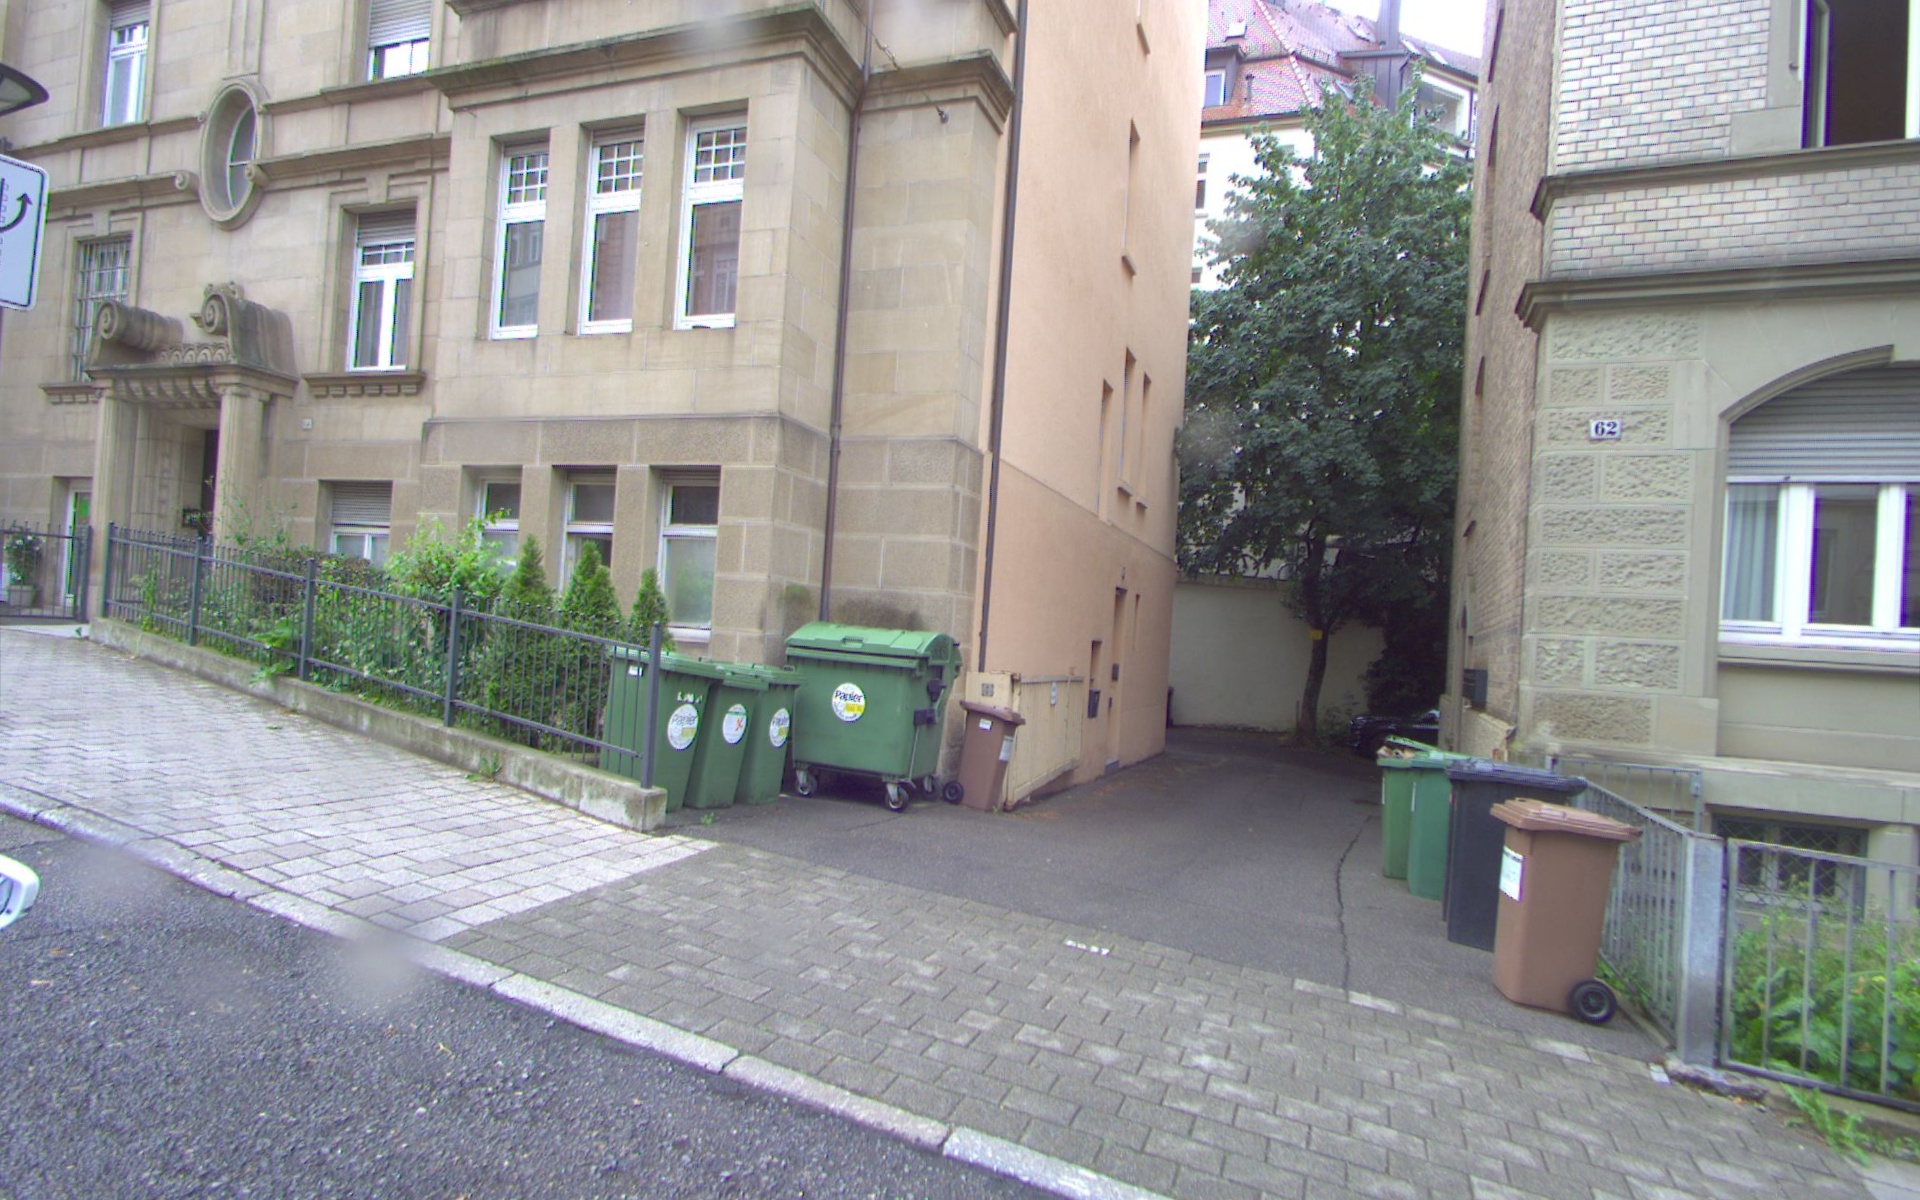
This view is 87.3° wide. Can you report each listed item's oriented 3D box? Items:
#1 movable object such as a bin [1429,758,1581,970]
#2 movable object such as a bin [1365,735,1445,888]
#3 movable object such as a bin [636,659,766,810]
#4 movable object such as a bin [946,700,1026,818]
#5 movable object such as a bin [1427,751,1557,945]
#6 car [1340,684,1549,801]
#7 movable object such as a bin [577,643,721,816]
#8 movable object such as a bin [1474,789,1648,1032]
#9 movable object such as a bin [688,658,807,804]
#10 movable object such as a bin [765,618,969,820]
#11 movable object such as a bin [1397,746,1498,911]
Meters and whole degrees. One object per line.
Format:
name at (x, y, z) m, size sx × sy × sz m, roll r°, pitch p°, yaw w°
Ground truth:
movable object such as a bin at (3.156, 1.491, 5.843) m, size 0.653 × 1.041 × 0.529 m, roll 6°, pitch -4°, yaw 30°
movable object such as a bin at (3.593, 1.685, 8.134) m, size 0.469 × 1.113 × 0.521 m, roll 6°, pitch -3°, yaw 24°
movable object such as a bin at (-1.869, 0.966, 7.299) m, size 0.593 × 0.978 × 0.540 m, roll 6°, pitch -4°, yaw 20°
movable object such as a bin at (0.236, 1.407, 8.974) m, size 0.510 × 0.952 × 0.395 m, roll 6°, pitch -4°, yaw 20°
movable object such as a bin at (3.380, 1.550, 6.428) m, size 0.598 × 1.072 × 0.501 m, roll 6°, pitch -3°, yaw 24°
car at (10.988, 3.155, 22.972) m, size 3.930 × 1.530 × 1.796 m, roll 13°, pitch 5°, yaw 28°
movable object such as a bin at (-2.075, 0.859, 6.757) m, size 0.593 × 1.036 × 0.540 m, roll 6°, pitch -4°, yaw 20°
movable object such as a bin at (2.806, 1.430, 4.741) m, size 0.527 × 0.932 × 0.427 m, roll 7°, pitch 2°, yaw 20°
movable object such as a bin at (-1.658, 1.022, 7.908) m, size 0.593 × 1.036 × 0.540 m, roll 6°, pitch -4°, yaw 20°
movable object such as a bin at (-0.752, 0.987, 8.479) m, size 1.256 × 1.446 × 0.976 m, roll 6°, pitch -4°, yaw 20°
movable object such as a bin at (3.567, 1.652, 7.400) m, size 0.545 × 1.072 × 0.498 m, roll 6°, pitch -3°, yaw 24°
